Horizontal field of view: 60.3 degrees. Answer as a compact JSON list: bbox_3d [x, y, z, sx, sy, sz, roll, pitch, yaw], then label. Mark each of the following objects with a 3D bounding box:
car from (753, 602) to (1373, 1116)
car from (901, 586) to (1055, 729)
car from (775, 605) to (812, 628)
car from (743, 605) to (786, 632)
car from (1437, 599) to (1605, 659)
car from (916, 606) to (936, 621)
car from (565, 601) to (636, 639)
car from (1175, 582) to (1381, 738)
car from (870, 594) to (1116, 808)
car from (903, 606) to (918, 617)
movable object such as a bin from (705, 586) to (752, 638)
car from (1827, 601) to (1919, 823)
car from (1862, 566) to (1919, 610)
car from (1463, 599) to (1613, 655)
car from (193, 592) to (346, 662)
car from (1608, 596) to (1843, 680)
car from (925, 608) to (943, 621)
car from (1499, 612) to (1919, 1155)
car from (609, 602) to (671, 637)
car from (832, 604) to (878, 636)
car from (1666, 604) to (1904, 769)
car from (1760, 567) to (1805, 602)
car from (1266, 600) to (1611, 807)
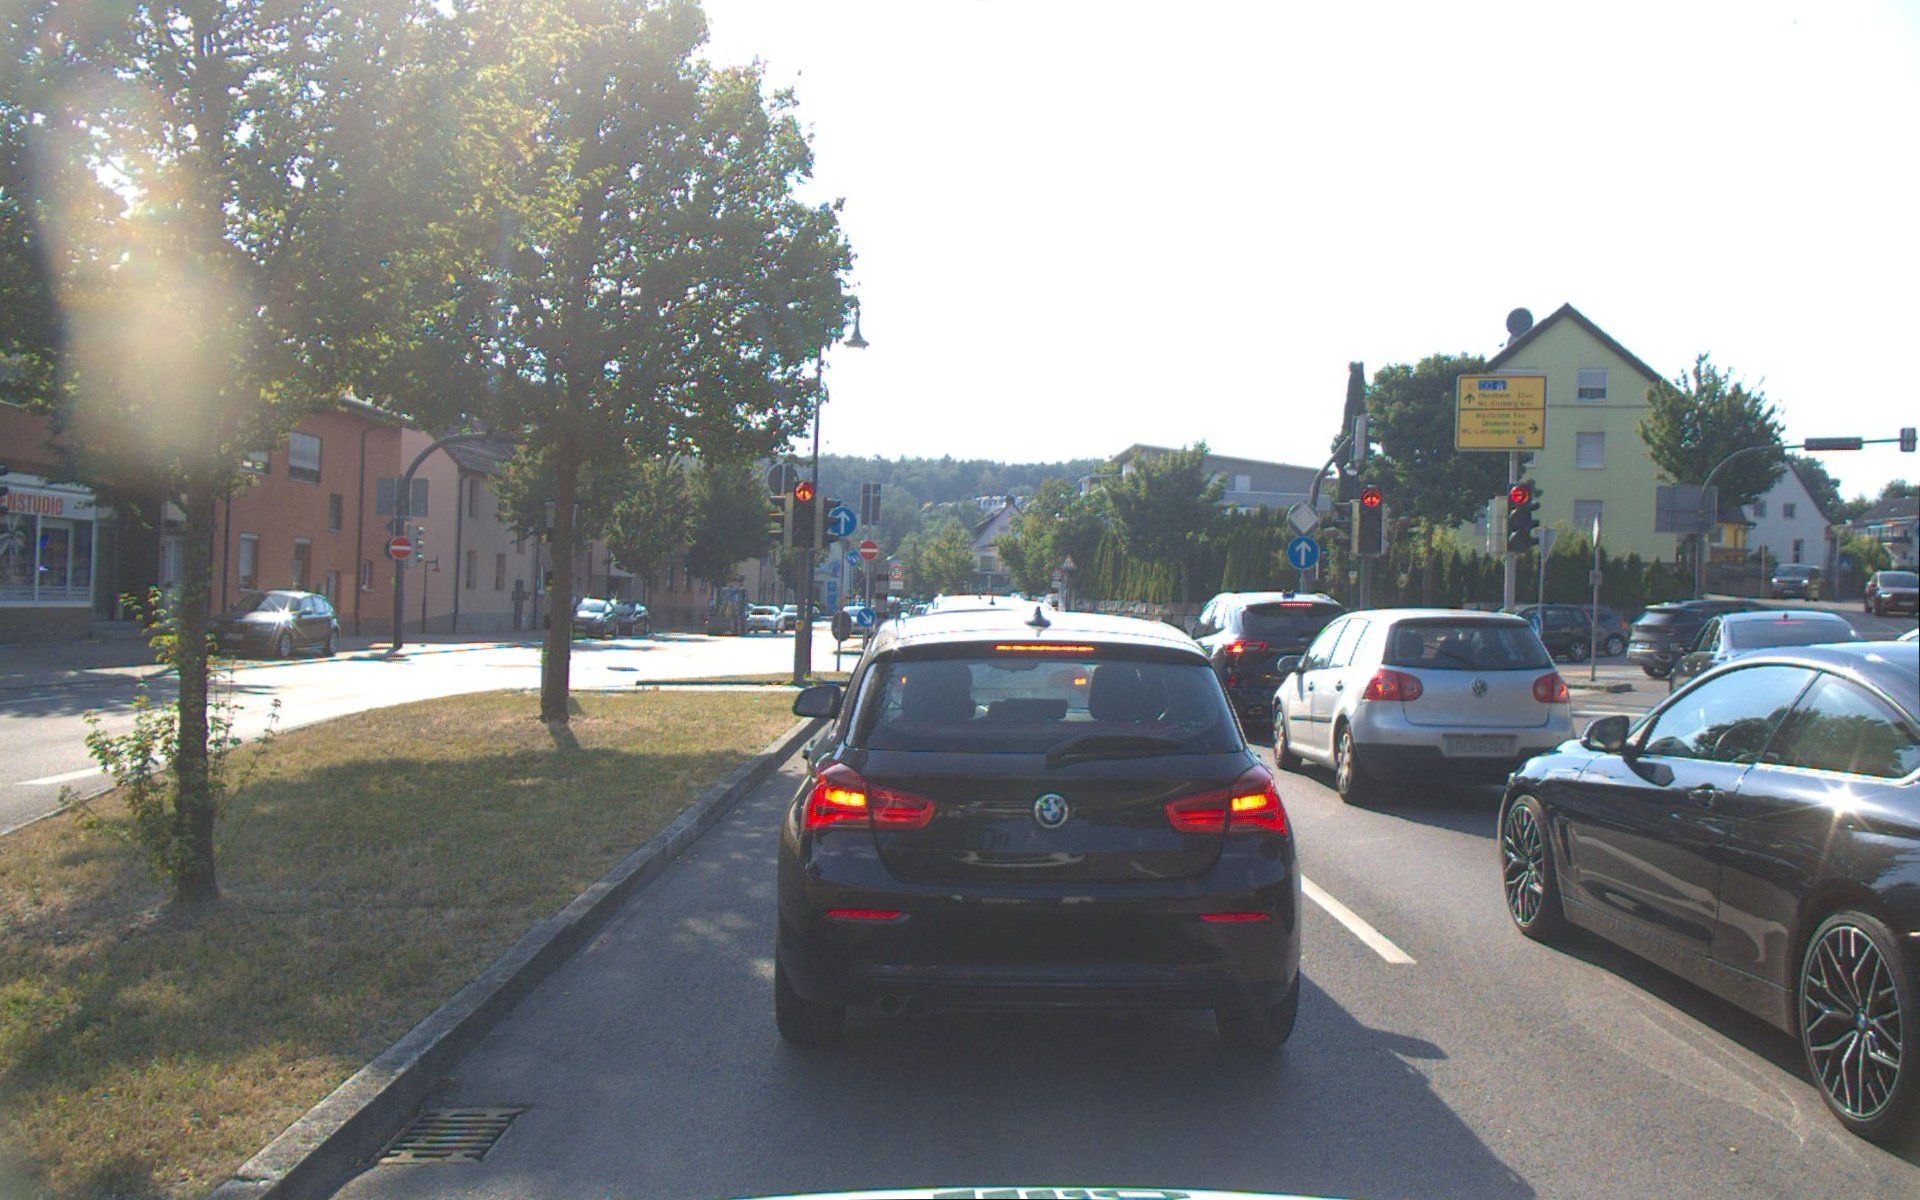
[{"bbox_3d":[0.290,0.736,6.841,1.751,1.422,4.280,-1,0,0],"label":"car"},{"bbox_3d":[0.201,0.649,21.026,1.751,1.622,4.280,-1,0,0],"label":"car"},{"bbox_3d":[-10.607,1.042,105.591,1.701,1.323,3.800,5,0,2],"label":"car"},{"bbox_3d":[-10.911,0.996,92.302,1.701,1.323,3.800,5,0,2],"label":"car"},{"bbox_3d":[15.162,0.766,44.837,3.907,1.515,1.847,1,0,-3],"label":"car"},{"bbox_3d":[-3.396,1.390,167.347,1.701,1.323,3.800,5,0,2],"label":"car"},{"bbox_3d":[-14.505,0.807,66.908,1.701,1.323,4.001,5,0,3],"label":"car"},{"bbox_3d":[3.739,0.650,20.060,1.725,1.685,3.902,-1,0,0],"label":"car"},{"bbox_3d":[0.231,0.716,13.986,1.751,1.520,4.280,-1,0,0],"label":"car"},{"bbox_3d":[-6.783,1.621,226.812,1.701,1.323,3.800,5,0,2],"label":"car"},{"bbox_3d":[-11.346,0.578,81.281,1.701,2.485,4.449,0,0,0],"label":"movable object such as a bin"},{"bbox_3d":[7.615,0.800,11.630,1.583,1.569,3.320,-1,0,6],"label":"car"},{"bbox_3d":[36.692,-0.448,65.059,1.806,1.670,4.428,1,0,25],"label":"car"},{"bbox_3d":[16.918,0.772,48.603,3.902,1.515,1.850,1,0,10],"label":"car"},{"bbox_3d":[-15.479,0.575,37.294,1.702,1.323,3.999,5,0,-1],"label":"car"},{"bbox_3d":[16.203,0.774,35.144,4.120,1.709,1.969,0,0,-6],"label":"car"},{"bbox_3d":[-3.002,1.665,190.892,1.701,1.323,3.800,5,0,2],"label":"car"},{"bbox_3d":[3.465,0.786,5.821,1.725,1.422,4.280,-1,0,0],"label":"car"},{"bbox_3d":[-14.113,0.840,73.189,1.701,1.323,4.001,5,0,2],"label":"car"},{"bbox_3d":[-5.099,0.958,80.836,1.801,1.508,4.001,1,0,2],"label":"car"},{"bbox_3d":[9.039,0.854,18.462,1.621,1.569,4.401,-1,0,17],"label":"car"},{"bbox_3d":[44.275,-0.812,89.071,1.805,1.770,4.783,1,0,22],"label":"car"},{"bbox_3d":[3.786,0.741,13.777,1.725,1.451,3.902,-1,0,0],"label":"car"}]
